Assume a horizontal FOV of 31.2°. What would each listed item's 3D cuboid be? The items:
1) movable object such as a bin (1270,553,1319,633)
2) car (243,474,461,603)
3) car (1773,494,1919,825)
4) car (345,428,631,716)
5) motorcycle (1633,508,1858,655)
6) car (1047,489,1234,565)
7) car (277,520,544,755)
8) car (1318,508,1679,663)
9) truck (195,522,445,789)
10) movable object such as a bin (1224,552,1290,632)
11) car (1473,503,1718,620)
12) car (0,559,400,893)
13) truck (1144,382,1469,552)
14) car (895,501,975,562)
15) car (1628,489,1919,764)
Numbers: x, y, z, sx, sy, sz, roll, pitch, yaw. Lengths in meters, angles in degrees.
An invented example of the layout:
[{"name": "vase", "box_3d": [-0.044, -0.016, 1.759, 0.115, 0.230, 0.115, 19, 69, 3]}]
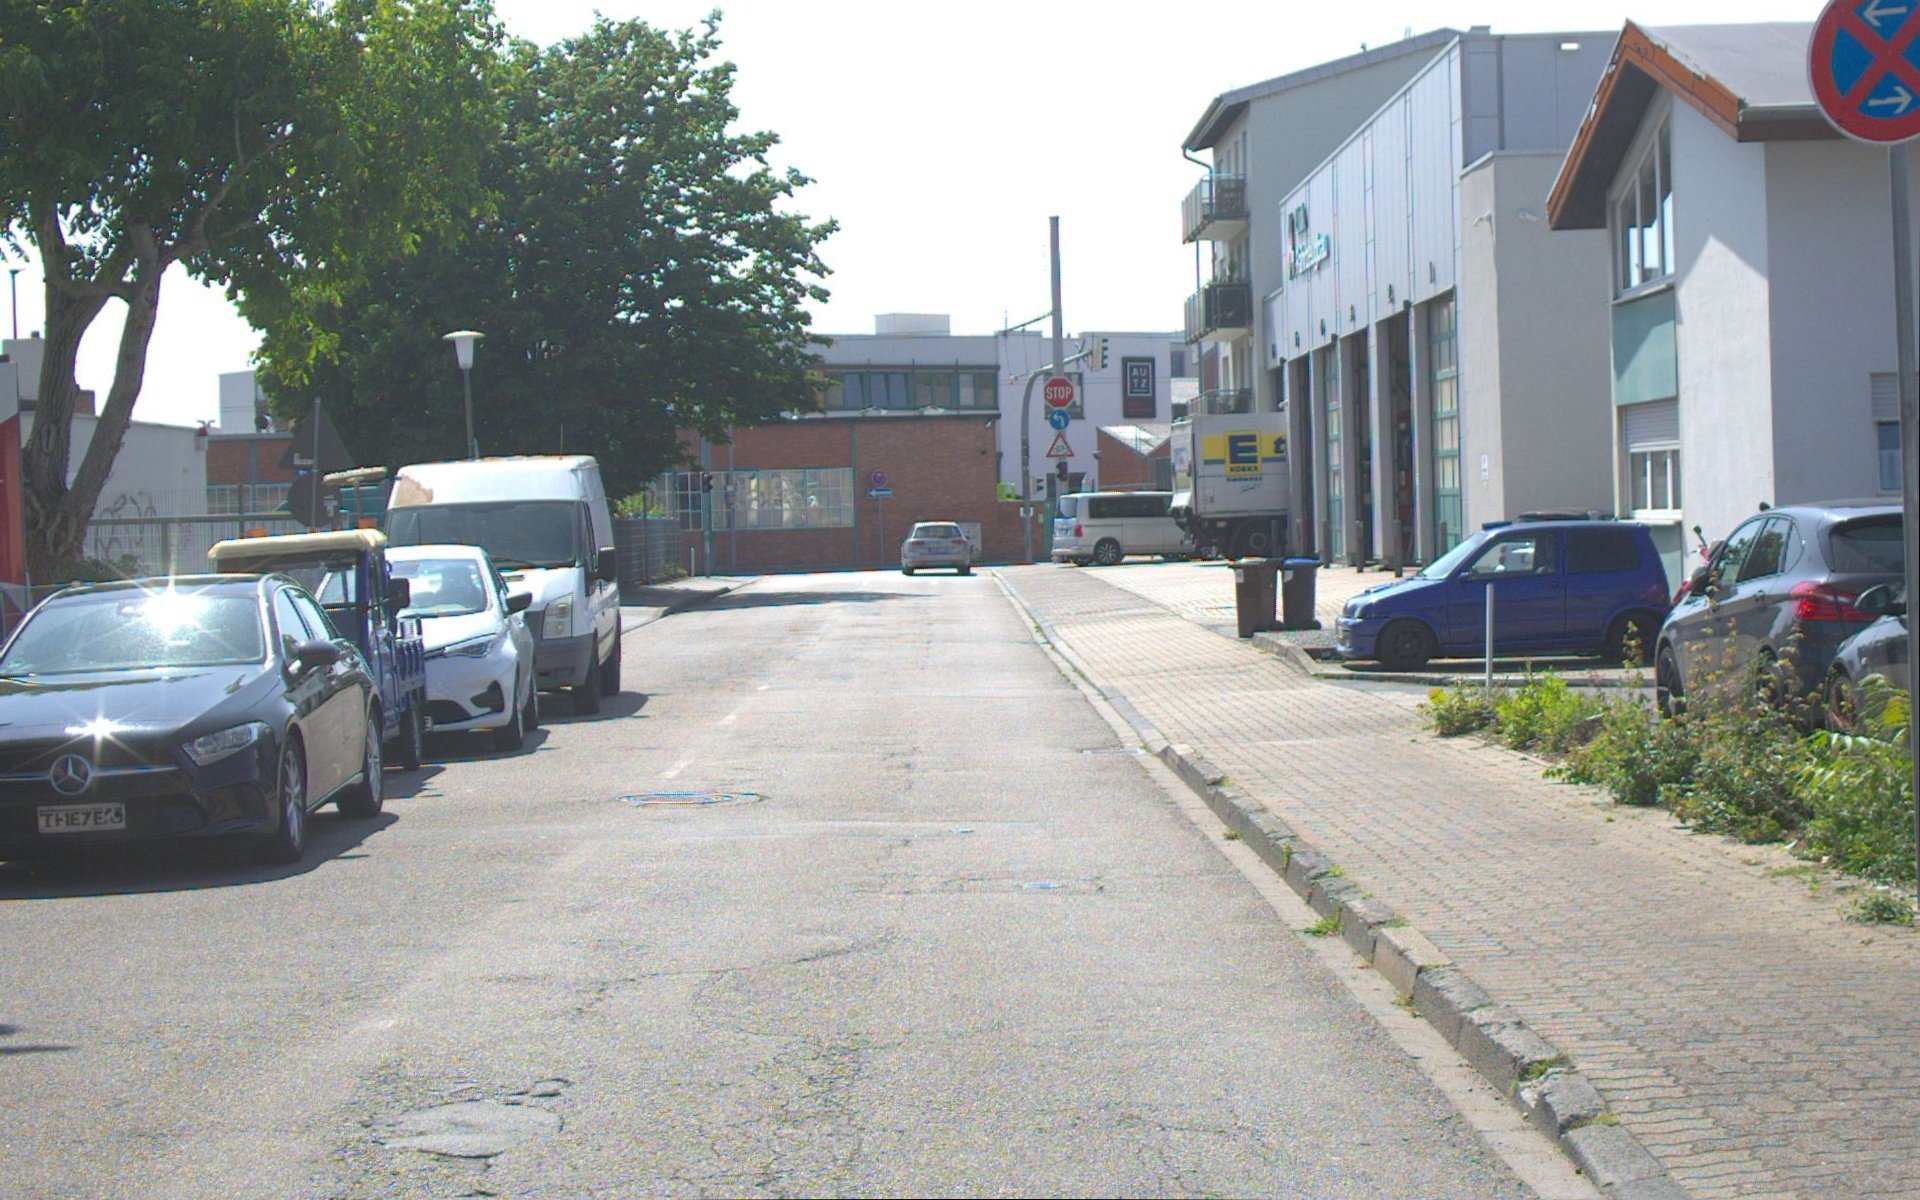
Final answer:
[{"name": "movable object such as a bin", "box_3d": [4.058, -0.089, 41.682, 0.514, 0.943, 0.487, -2, 1, 11]}, {"name": "car", "box_3d": [-12.319, -1.253, 69.843, 4.085, 2.504, 1.777, -1, 1, -2]}, {"name": "car", "box_3d": [5.443, 0.257, 16.385, 1.858, 1.562, 4.952, -1, 1, -1]}, {"name": "car", "box_3d": [-4.277, -0.294, 31.945, 2.005, 2.358, 5.230, -3, 1, -2]}, {"name": "motorcycle", "box_3d": [7.383, -0.180, 32.374, 1.869, 1.275, 0.797, -3, 1, -3]}, {"name": "car", "box_3d": [4.882, -1.982, 93.258, 4.653, 1.951, 1.917, -2, 1, -19]}, {"name": "car", "box_3d": [-4.198, 0.241, 26.778, 1.704, 1.618, 3.974, -3, 1, -5]}, {"name": "car", "box_3d": [5.229, -0.157, 33.667, 3.253, 1.394, 1.673, -1, 1, 0]}, {"name": "truck", "box_3d": [-4.256, 0.320, 23.169, 1.138, 1.616, 3.142, -3, 1, -2]}, {"name": "movable object such as a bin", "box_3d": [3.566, -0.097, 41.272, 0.568, 0.943, 0.556, -1, 1, 33]}, {"name": "car", "box_3d": [9.158, -0.565, 49.399, 1.777, 1.534, 3.694, -1, 2, 42]}, {"name": "car", "box_3d": [-4.125, 0.567, 17.821, 1.704, 1.458, 4.114, -3, 1, 0]}, {"name": "truck", "box_3d": [8.500, -3.269, 84.815, 7.357, 3.633, 2.768, -4, 2, -6]}, {"name": "car", "box_3d": [-0.715, -1.929, 96.166, 1.890, 1.679, 3.959, 0, 1, -5]}, {"name": "car", "box_3d": [5.604, 0.092, 21.785, 1.811, 1.553, 4.293, -1, 1, -1]}]
